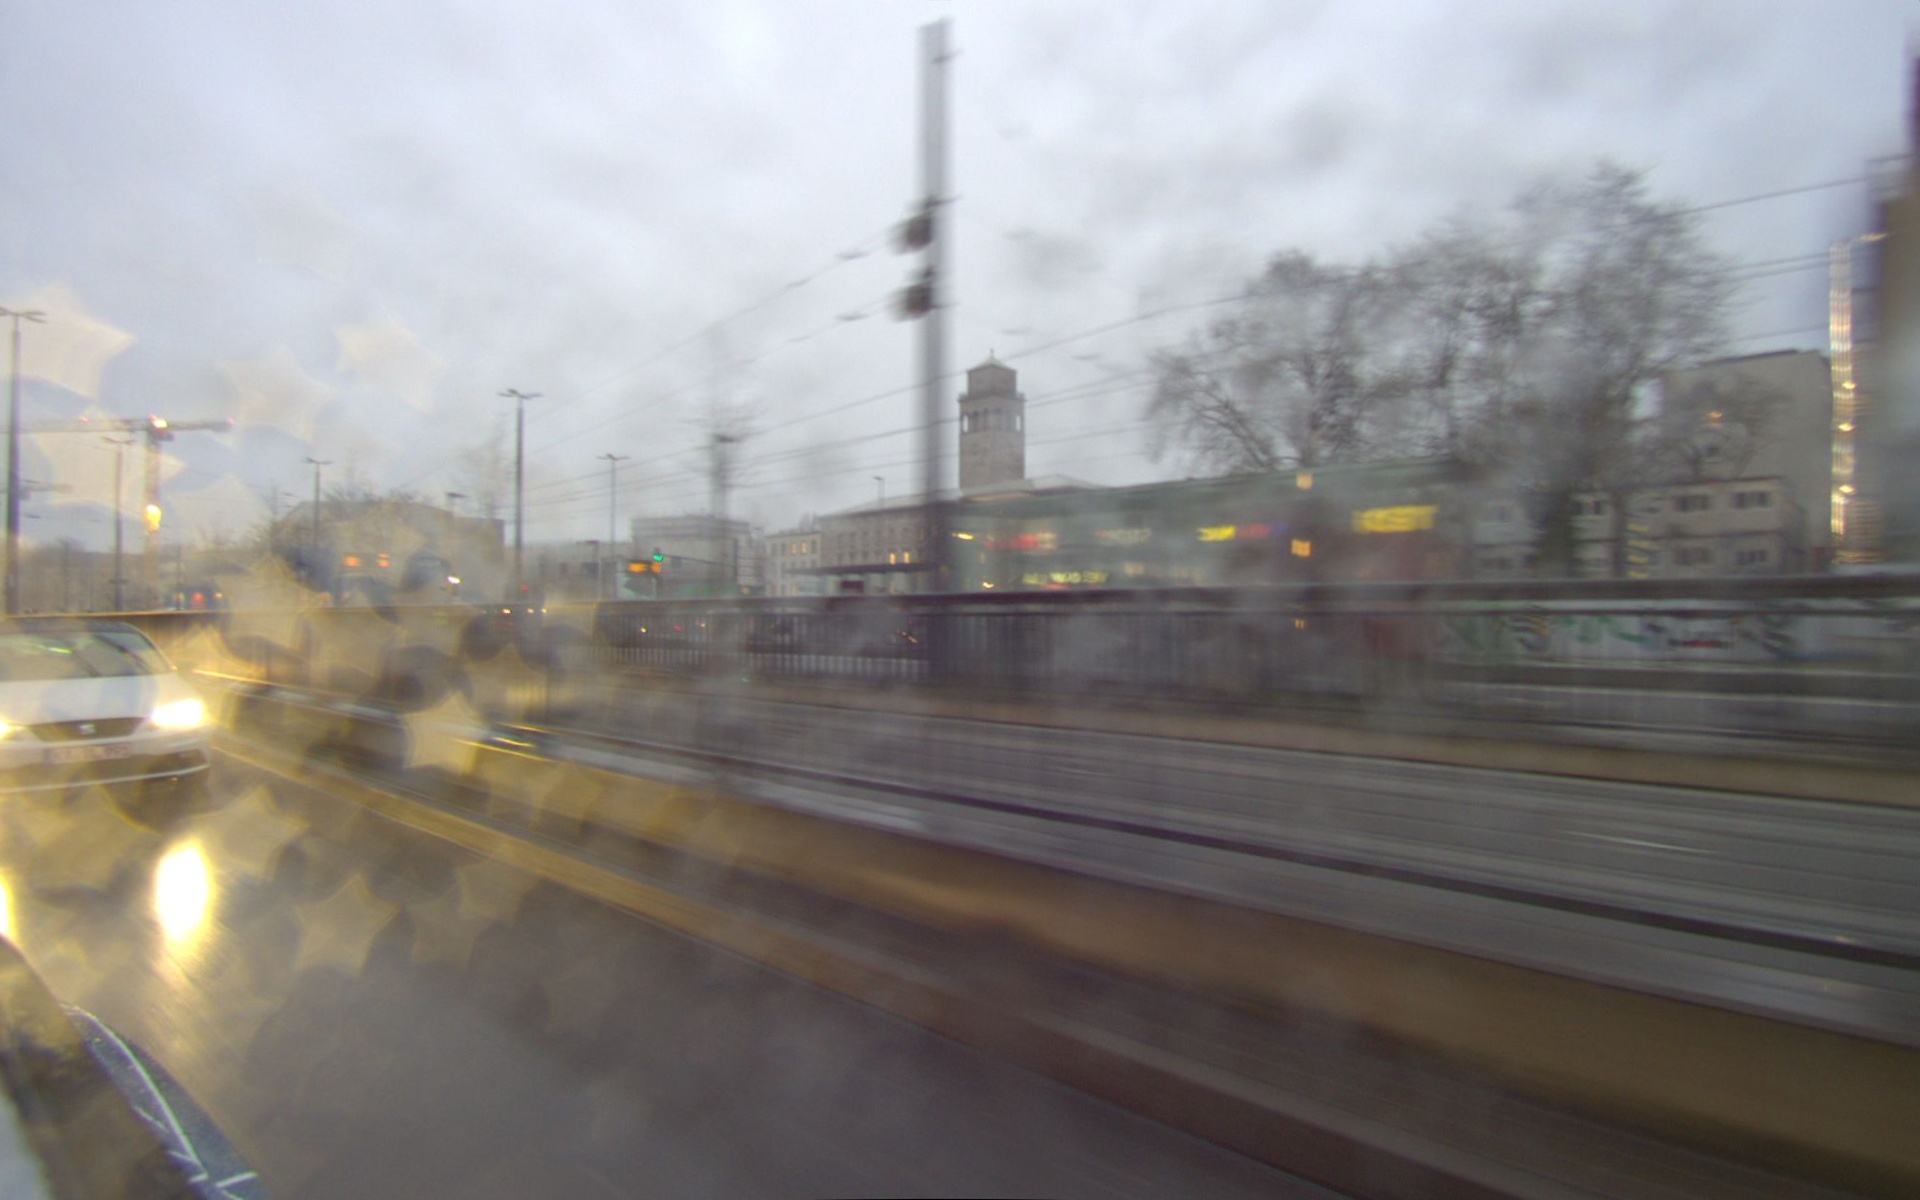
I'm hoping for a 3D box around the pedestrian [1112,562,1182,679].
[{"bbox_3d":[2.570,0.279,13.949,0.576,1.562,0.742,0,-1,-37],"label":"pedestrian"}]

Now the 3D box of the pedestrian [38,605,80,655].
[{"bbox_3d":[-40.174,1.321,45.125,0.949,2.224,1.047,-1,-1,16],"label":"pedestrian"}]

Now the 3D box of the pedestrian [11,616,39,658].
[{"bbox_3d":[-40.259,1.592,43.562,0.656,1.748,0.607,0,0,-11],"label":"pedestrian"}]

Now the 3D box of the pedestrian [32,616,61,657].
[{"bbox_3d":[-39.329,1.563,43.573,0.743,1.731,0.650,-1,-1,16],"label":"pedestrian"}]

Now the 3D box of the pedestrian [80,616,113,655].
[{"bbox_3d":[-38.643,1.573,45.292,0.758,1.727,0.856,-1,-1,16],"label":"pedestrian"}]

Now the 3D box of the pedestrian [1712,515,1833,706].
[{"bbox_3d":[7.648,0.098,9.540,0.576,1.714,0.742,0,-1,-37],"label":"pedestrian"}]

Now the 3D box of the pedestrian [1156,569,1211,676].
[{"bbox_3d":[3.381,0.334,15.335,0.536,1.579,0.584,-1,-1,-28],"label":"pedestrian"}]

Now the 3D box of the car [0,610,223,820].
[{"bbox_3d":[-8.045,0.856,8.973,4.141,1.484,1.789,-1,-1,44],"label":"car"}]

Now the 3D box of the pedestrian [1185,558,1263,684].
[{"bbox_3d":[3.368,0.261,12.944,0.576,1.562,0.742,0,-1,-37],"label":"pedestrian"}]

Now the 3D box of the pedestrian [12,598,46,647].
[{"bbox_3d":[-42.202,1.015,45.869,1.014,2.162,0.896,-1,-1,31],"label":"pedestrian"}]
